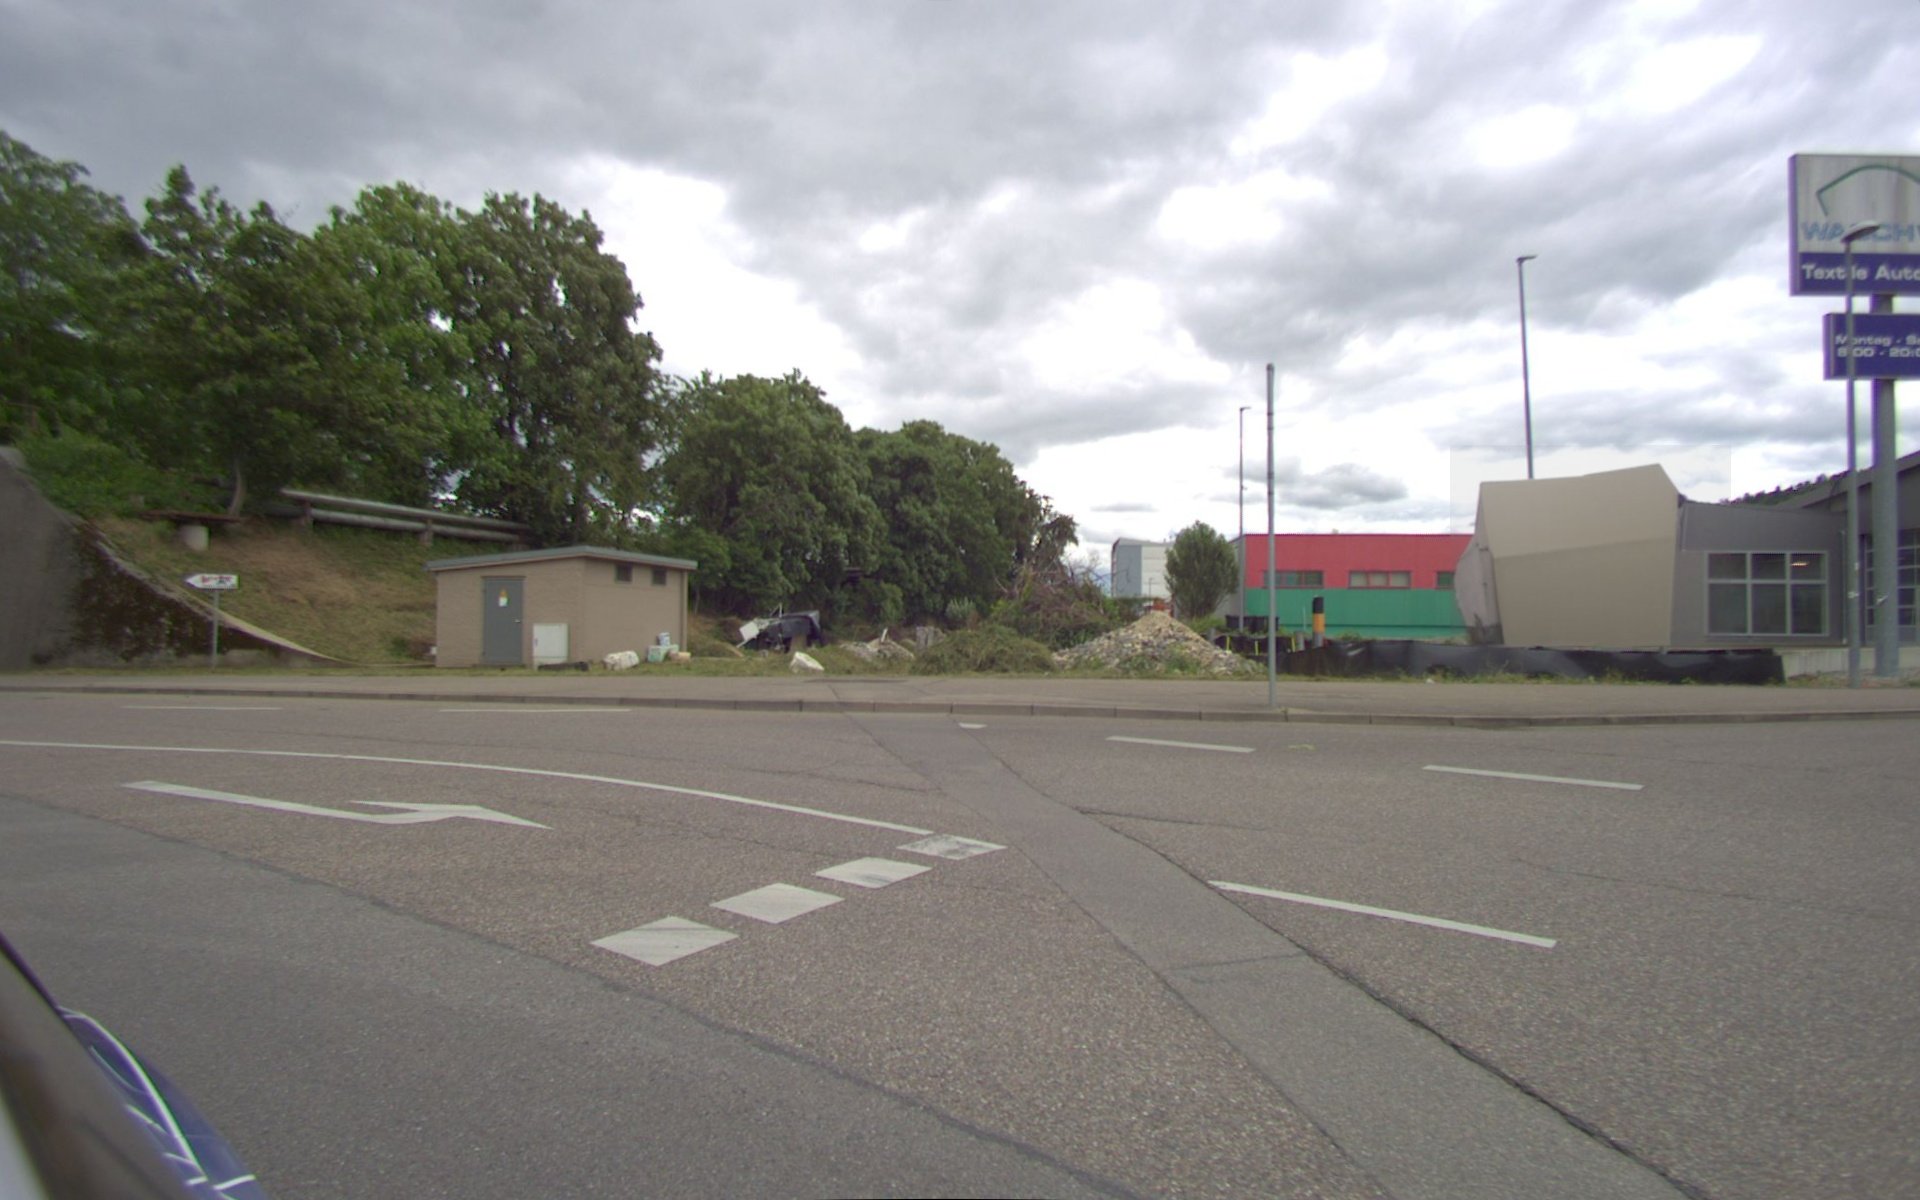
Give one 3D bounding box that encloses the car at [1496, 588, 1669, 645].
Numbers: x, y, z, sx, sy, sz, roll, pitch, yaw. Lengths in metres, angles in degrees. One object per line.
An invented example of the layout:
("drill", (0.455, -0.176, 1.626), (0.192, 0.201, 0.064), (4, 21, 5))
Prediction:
("car", (17.942, 0.489, 29.245), (3.934, 1.547, 2.005), (1, -1, -11))
